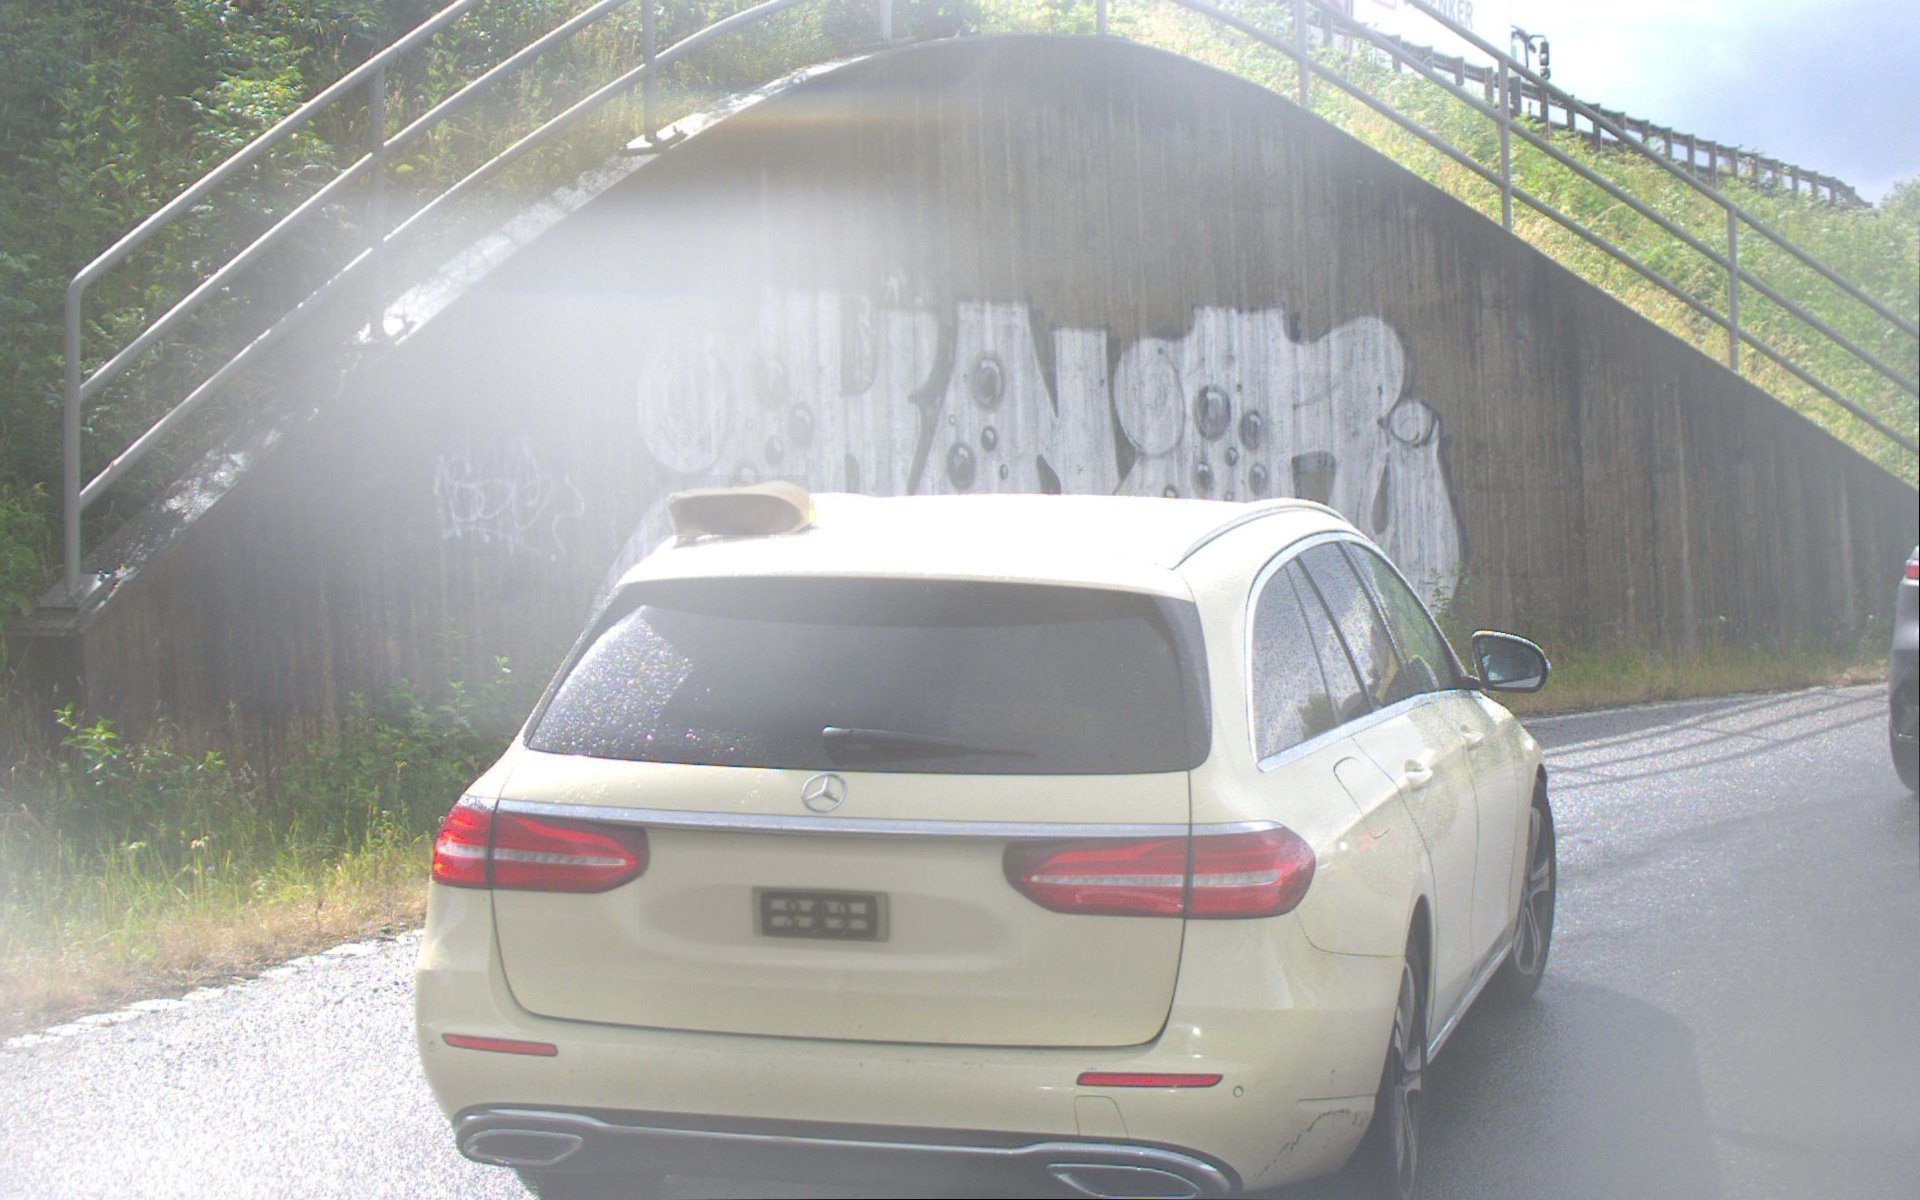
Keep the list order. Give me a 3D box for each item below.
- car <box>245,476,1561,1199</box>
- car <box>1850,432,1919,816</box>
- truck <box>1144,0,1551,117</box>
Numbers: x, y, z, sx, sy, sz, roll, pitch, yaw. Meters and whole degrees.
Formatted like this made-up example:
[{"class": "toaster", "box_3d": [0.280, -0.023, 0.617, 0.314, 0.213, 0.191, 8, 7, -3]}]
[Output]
[{"class": "car", "box_3d": [0.253, 0.486, 7.996, 1.917, 1.502, 4.593, 0, 2, 14]}, {"class": "car", "box_3d": [5.503, 0.041, 14.832, 1.722, 1.519, 3.991, 3, 4, 38]}, {"class": "truck", "box_3d": [6.143, -9.949, 52.608, 3.185, 3.952, 9.224, 1, 1, 27]}]
